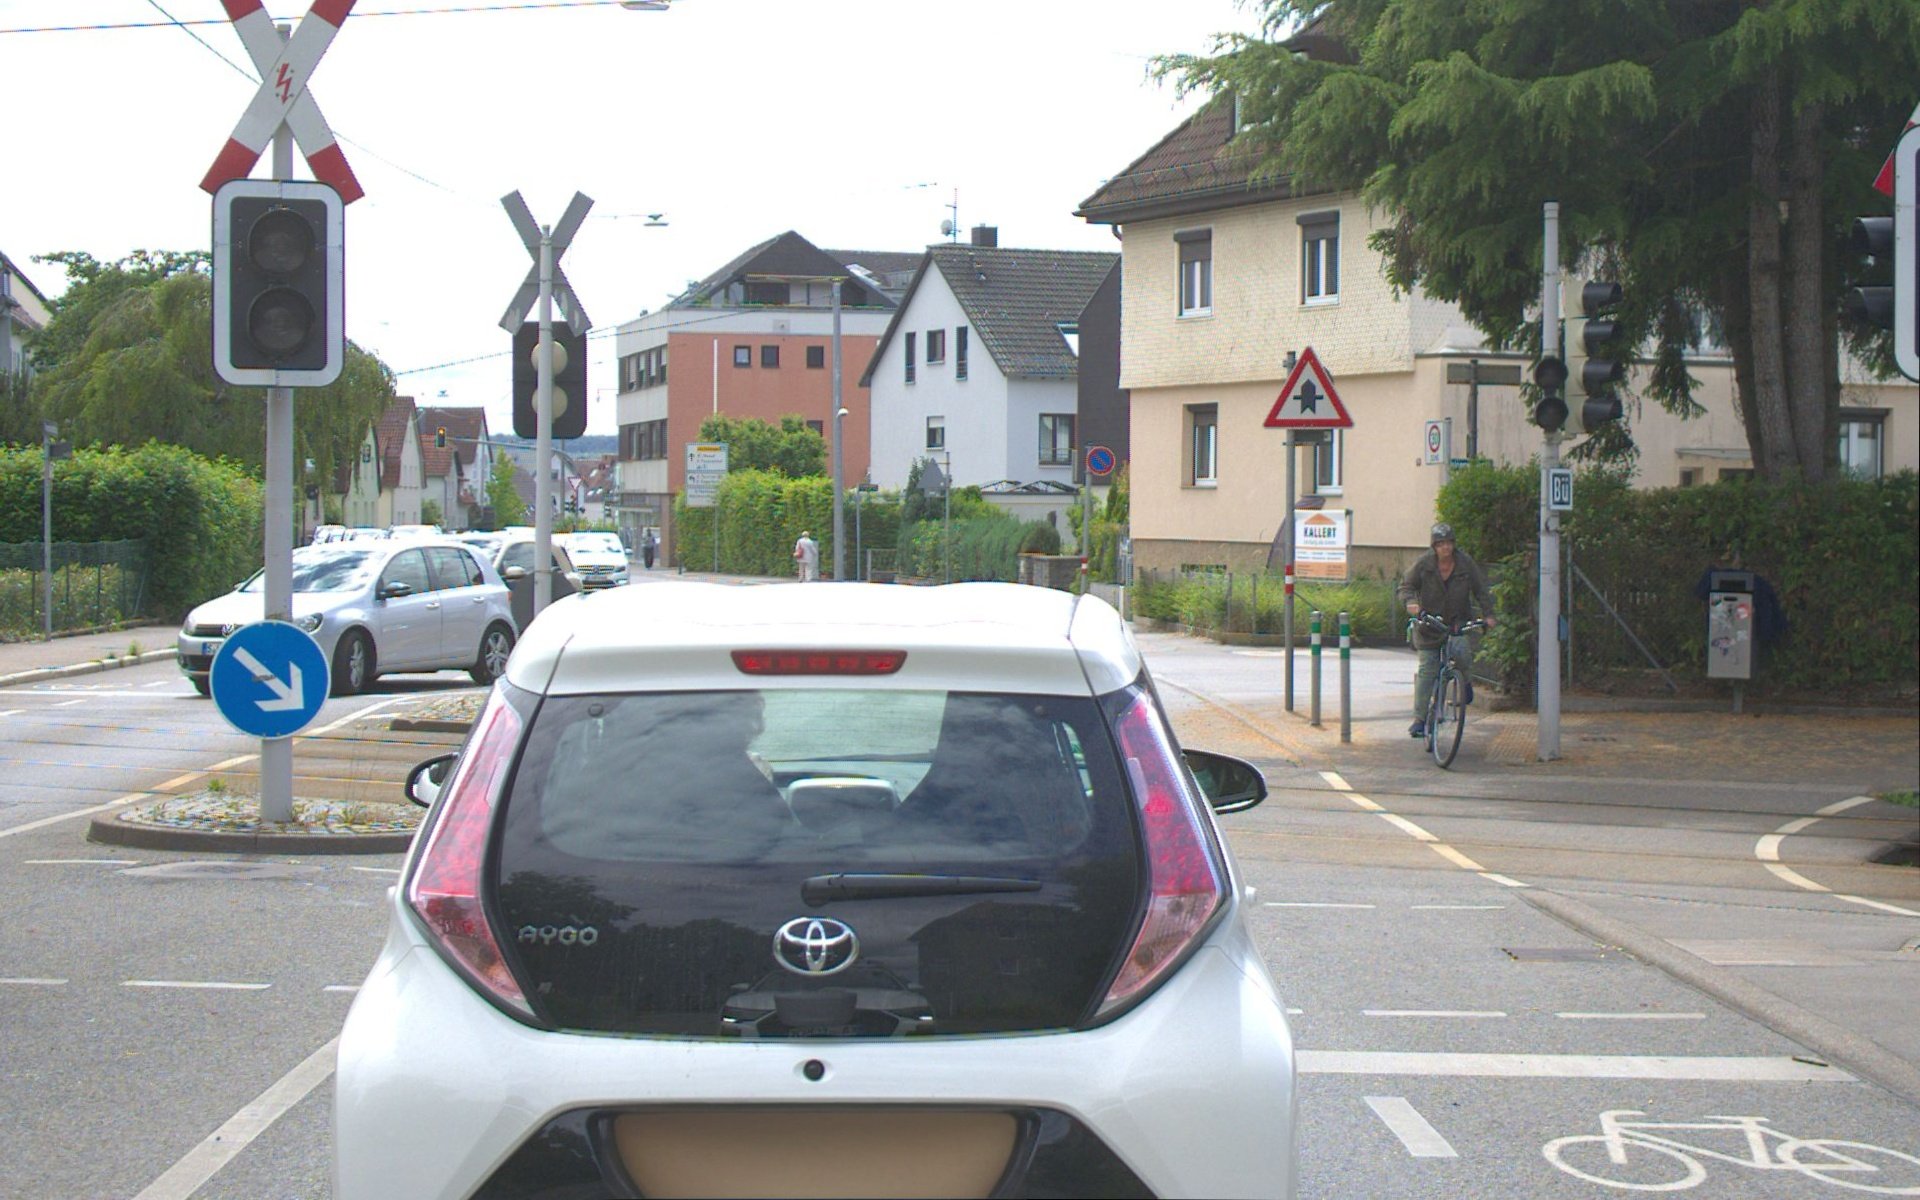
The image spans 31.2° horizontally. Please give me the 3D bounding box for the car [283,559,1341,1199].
[{"bbox_3d":[-0.252,0.666,7.292,1.621,1.481,4.000,0,0,-1],"label":"car"}]

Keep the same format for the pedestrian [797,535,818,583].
[{"bbox_3d":[-4.584,-1.231,103.021,0.436,1.433,0.414,0,2,-39],"label":"pedestrian"}]

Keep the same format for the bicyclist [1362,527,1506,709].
[{"bbox_3d":[3.475,0.119,25.132,0.932,1.243,1.102,-1,4,13],"label":"bicyclist"}]

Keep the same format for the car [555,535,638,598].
[{"bbox_3d":[-9.452,-0.877,89.102,1.774,1.556,4.171,0,1,-11],"label":"car"}]

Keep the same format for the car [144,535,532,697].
[{"bbox_3d":[-6.003,0.108,33.634,1.690,1.453,4.064,0,2,25],"label":"car"}]

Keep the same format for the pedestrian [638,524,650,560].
[{"bbox_3d":[-12.589,-2.316,137.079,0.413,1.433,0.438,1,1,-11],"label":"pedestrian"}]

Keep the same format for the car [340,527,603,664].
[{"bbox_3d":[-5.701,-0.027,40.306,1.577,1.505,2.782,-3,-2,33],"label":"car"}]

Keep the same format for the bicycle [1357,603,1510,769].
[{"bbox_3d":[3.489,0.610,25.175,0.932,1.036,1.914,-1,4,13],"label":"bicycle"}]
